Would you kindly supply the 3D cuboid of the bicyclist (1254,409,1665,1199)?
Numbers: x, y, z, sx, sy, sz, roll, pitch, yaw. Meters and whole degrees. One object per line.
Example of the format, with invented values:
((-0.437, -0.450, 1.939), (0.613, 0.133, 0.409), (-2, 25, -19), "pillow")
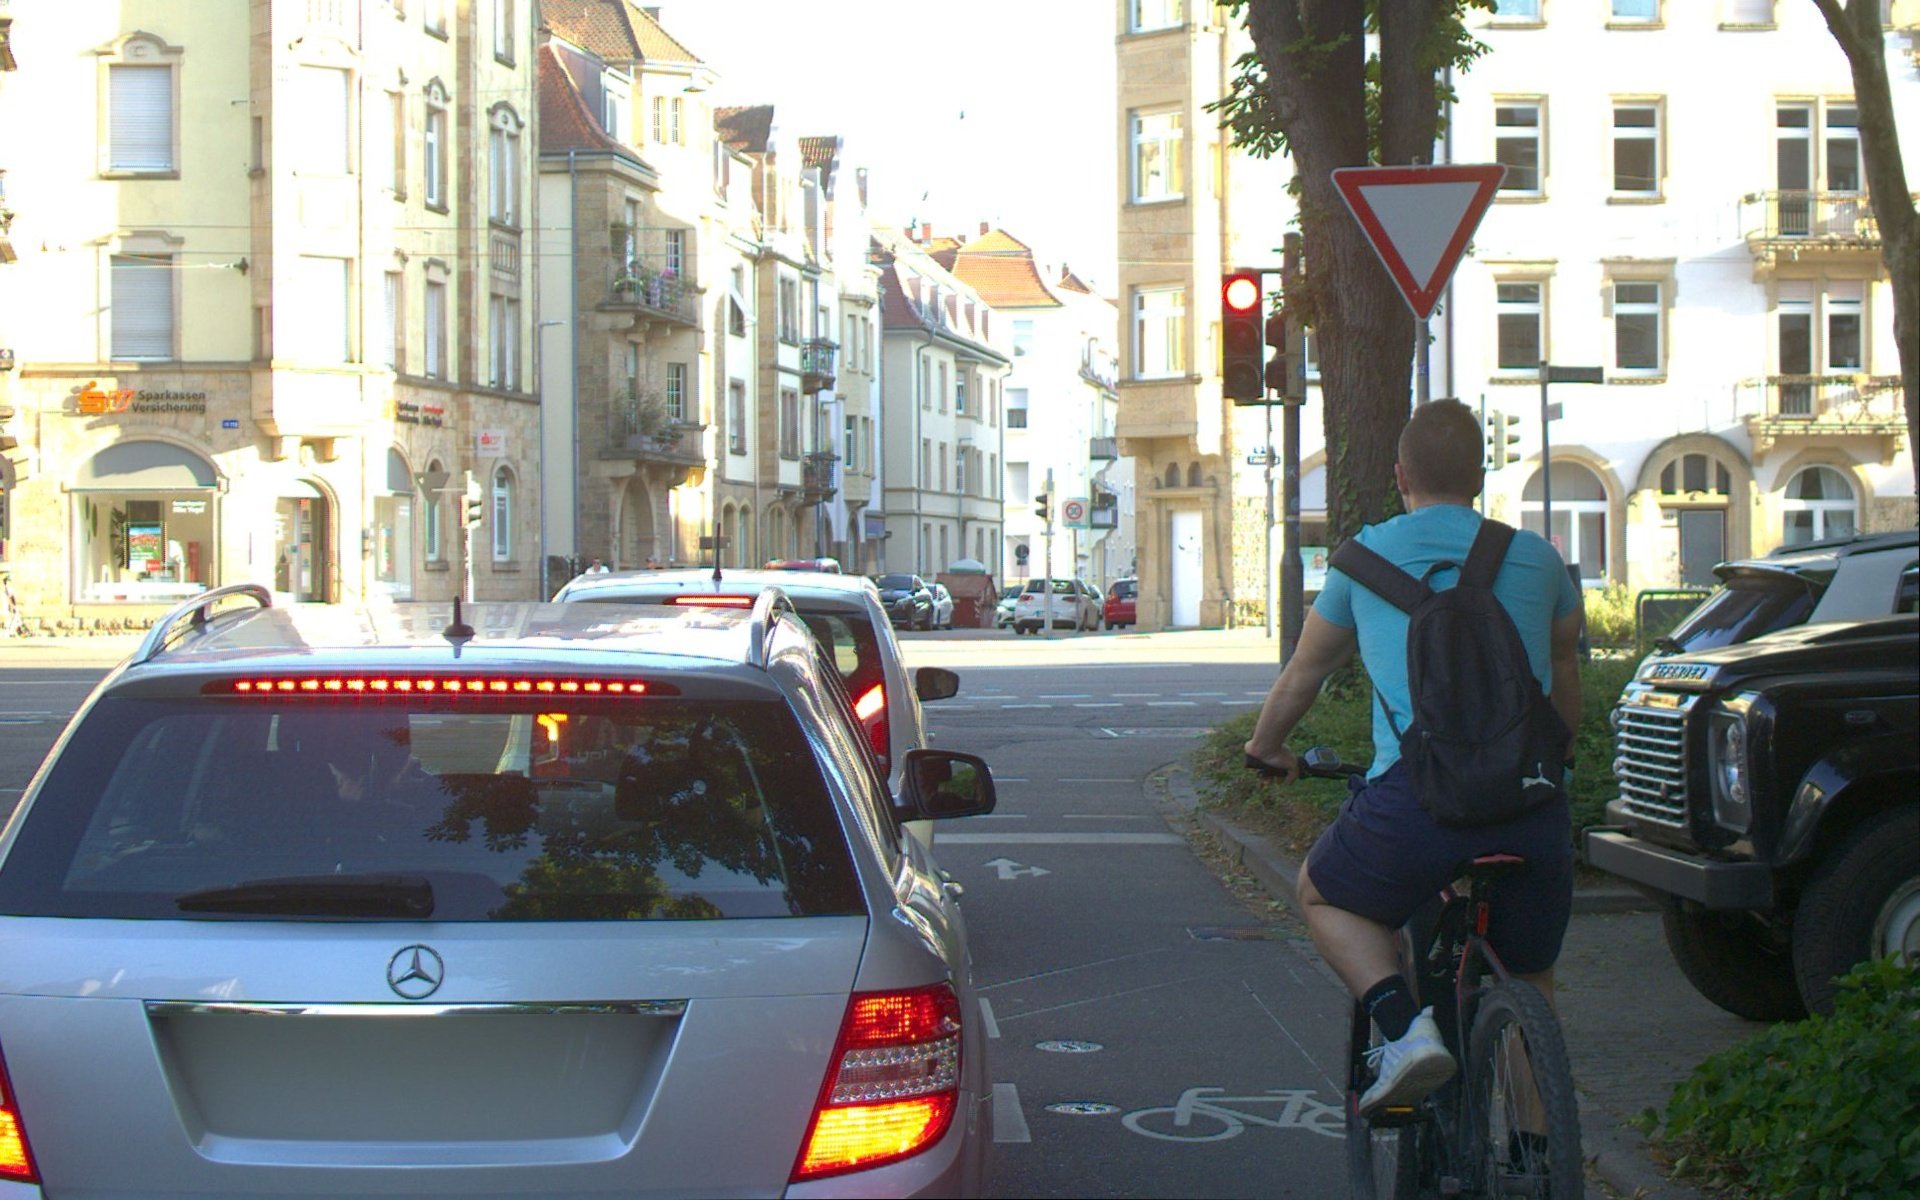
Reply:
((0.946, 0.537, 6.691), (0.646, 1.769, 0.831), (1, 0, -1), "bicyclist")

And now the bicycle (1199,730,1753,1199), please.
((0.926, 0.874, 6.717), (0.742, 1.114, 2.013), (1, 1, -1), "bicycle")

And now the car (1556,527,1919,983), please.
((4.236, 0.502, 13.144), (3.480, 1.580, 1.711), (-2, 1, -6), "car")

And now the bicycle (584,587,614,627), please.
((-7.694, 0.143, 73.321), (0.568, 0.832, 1.566), (0, 1, -4), "bicycle")

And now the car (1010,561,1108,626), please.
((2.495, -0.173, 85.877), (1.722, 1.473, 3.998), (-2, 1, 12), "car")

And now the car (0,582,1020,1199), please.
((-0.868, 0.710, 6.470), (1.690, 1.424, 3.493), (1, 1, -3), "car")

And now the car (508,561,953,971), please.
((-0.862, 0.557, 13.706), (1.533, 1.386, 3.600), (0, 1, -2), "car")

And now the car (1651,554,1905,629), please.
((11.892, -0.130, 50.071), (3.364, 1.065, 1.380), (0, 1, -1), "car")

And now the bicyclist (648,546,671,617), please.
((-6.407, -0.394, 73.308), (0.466, 1.516, 0.694), (0, 1, -4), "bicyclist")

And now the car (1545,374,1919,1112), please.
((4.186, 0.293, 10.171), (4.490, 1.949, 1.793), (-2, 1, -3), "car")

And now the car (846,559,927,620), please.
((-2.170, -0.297, 102.423), (1.651, 1.777, 3.861), (0, 0, 11), "car")

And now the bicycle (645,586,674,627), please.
((-6.397, 0.131, 73.241), (0.568, 0.832, 1.566), (0, 1, -4), "bicycle")

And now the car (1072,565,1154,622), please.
((4.568, -0.222, 102.064), (1.722, 1.473, 3.998), (-4, 1, 12), "car")

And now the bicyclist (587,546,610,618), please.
((-7.703, -0.388, 73.299), (0.466, 1.509, 0.655), (0, 1, -4), "bicyclist")

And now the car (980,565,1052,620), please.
((1.826, -0.246, 111.097), (1.687, 1.716, 3.998), (0, 1, 10), "car")

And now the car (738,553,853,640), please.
((-3.783, -0.112, 79.776), (1.938, 1.952, 4.149), (0, 1, 8), "car")
